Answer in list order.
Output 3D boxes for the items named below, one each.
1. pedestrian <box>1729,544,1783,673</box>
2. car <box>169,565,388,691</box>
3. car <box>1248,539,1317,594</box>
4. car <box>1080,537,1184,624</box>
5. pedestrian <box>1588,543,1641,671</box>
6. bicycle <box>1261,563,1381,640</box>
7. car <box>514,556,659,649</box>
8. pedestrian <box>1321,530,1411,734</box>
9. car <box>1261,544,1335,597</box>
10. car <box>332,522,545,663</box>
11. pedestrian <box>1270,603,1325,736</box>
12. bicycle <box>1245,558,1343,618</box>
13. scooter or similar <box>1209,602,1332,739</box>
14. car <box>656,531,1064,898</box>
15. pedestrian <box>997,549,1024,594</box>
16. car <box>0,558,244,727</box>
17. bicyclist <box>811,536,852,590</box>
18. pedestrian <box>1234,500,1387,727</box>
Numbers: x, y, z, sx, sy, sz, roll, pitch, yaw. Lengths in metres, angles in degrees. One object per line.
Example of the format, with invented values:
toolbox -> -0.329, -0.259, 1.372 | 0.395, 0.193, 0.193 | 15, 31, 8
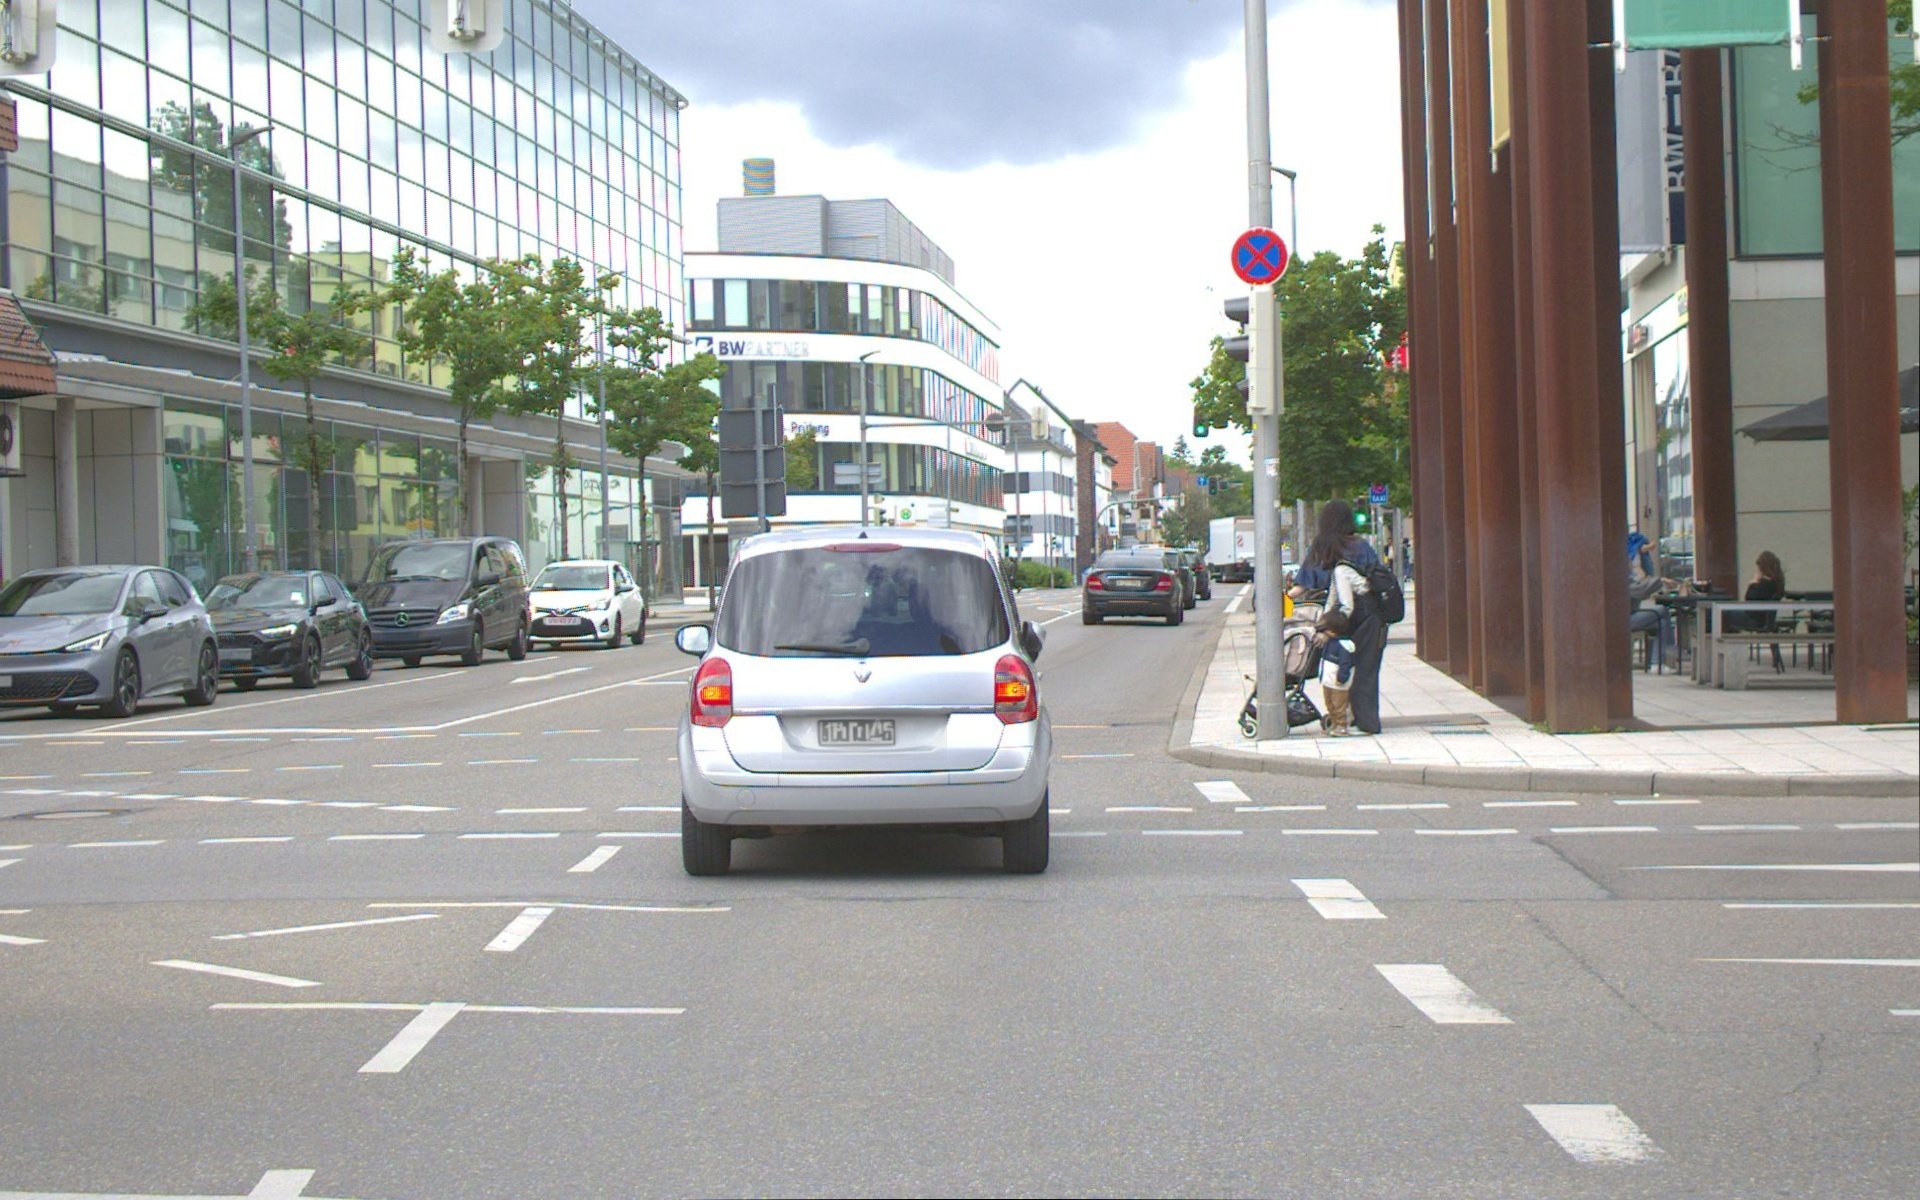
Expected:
pedestrian -> 7.617, 0.076, 32.913 | 0.448, 1.216, 0.606 | -1, 1, 9
car -> -8.367, 0.309, 42.508 | 1.702, 1.438, 4.000 | -1, 1, 3
car -> 9.119, -0.973, 97.319 | 1.878, 1.503, 3.999 | 1, 1, 5
car -> 3.226, -0.392, 63.932 | 1.670, 1.549, 3.641 | 1, 1, 7
pedestrian -> 6.303, 0.062, 33.109 | 0.448, 1.216, 0.606 | -1, 1, 8
bicycle -> 4.914, 0.018, 46.763 | 1.561, 0.989, 0.752 | -1, 1, 8
car -> -6.359, 0.020, 58.883 | 1.660, 1.460, 3.999 | -2, 1, 5
pedestrian -> 2.871, 0.216, 24.318 | 0.601, 1.415, 0.582 | -1, 1, 7
car -> 8.926, -0.792, 90.853 | 1.878, 1.330, 3.999 | 1, 1, 5
car -> -7.634, -0.148, 50.832 | 1.866, 1.903, 5.113 | -2, 1, 5
pedestrian -> 2.399, 0.491, 24.394 | 0.362, 0.921, 0.454 | -1, 1, 7
bicycle -> 6.475, -0.229, 66.663 | 1.825, 1.071, 0.752 | -2, 1, 4
scooter or similar -> 2.251, 0.503, 24.923 | 0.634, 0.958, 0.619 | 0, 1, 39
car -> -0.378, 0.454, 16.538 | 1.670, 1.549, 3.642 | 1, 1, 3
pedestrian -> 2.133, -1.198, 144.702 | 0.961, 1.827, 1.250 | -2, 1, 5
car -> -8.941, 0.404, 35.353 | 1.759, 1.512, 4.386 | -3, 1, 6
bicyclist -> -3.988, -1.142, 106.781 | 1.006, 1.655, 0.933 | 1, 0, -23
pedestrian -> 2.598, 0.093, 25.454 | 0.872, 1.641, 0.679 | 0, 1, 39
